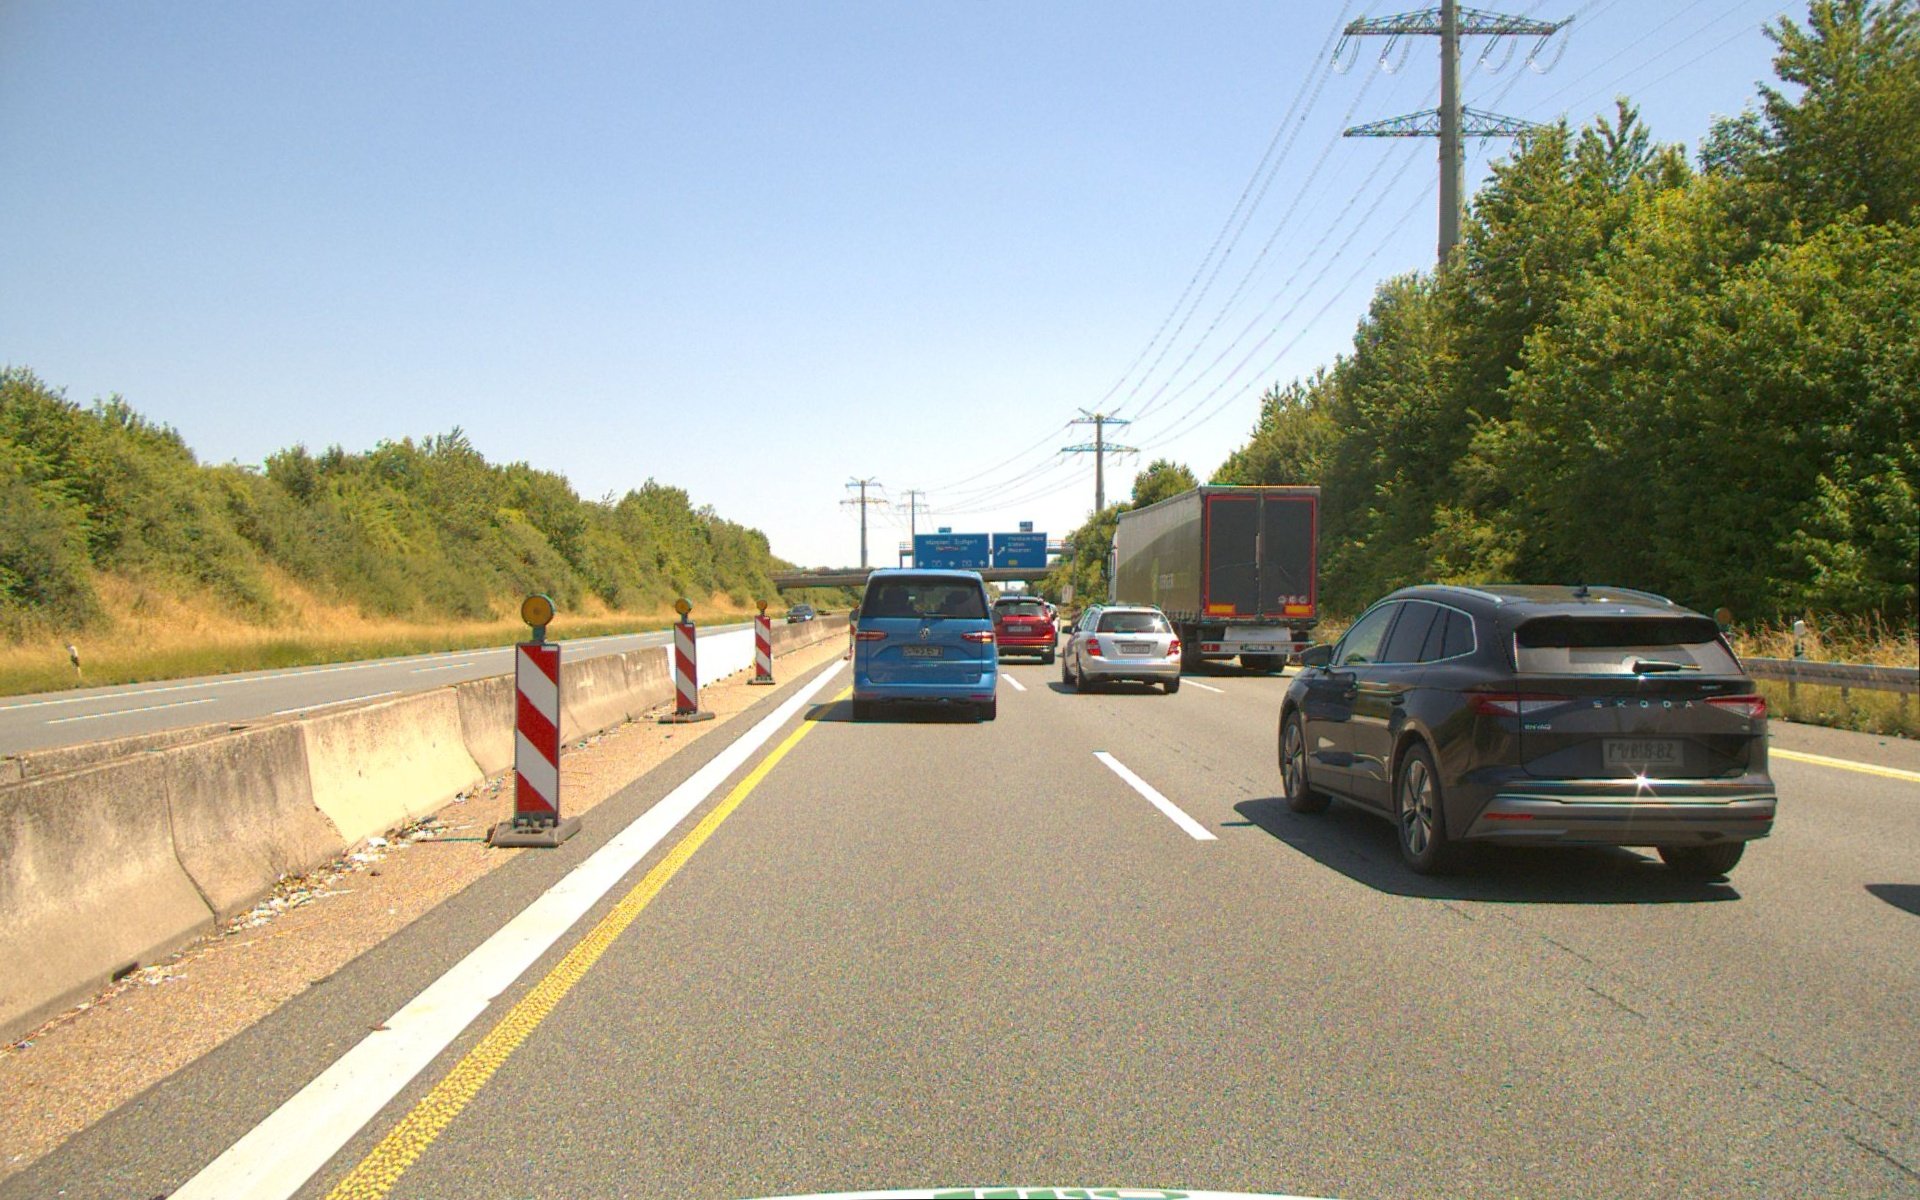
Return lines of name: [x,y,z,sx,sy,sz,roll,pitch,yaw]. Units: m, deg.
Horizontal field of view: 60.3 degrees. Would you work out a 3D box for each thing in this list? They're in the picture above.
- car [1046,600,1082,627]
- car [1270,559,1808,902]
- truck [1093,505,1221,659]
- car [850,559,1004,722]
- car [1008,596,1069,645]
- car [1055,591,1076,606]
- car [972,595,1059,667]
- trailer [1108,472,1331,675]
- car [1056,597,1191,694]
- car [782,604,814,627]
car: [5.826,0.747,92.888,1.666,1.473,3.786,1,0,-2]
car: [3.322,0.668,10.484,1.667,1.684,4.427,1,0,-3]
truck: [5.574,-0.483,47.744,2.678,4.118,5.790,1,0,-3]
car: [-0.497,0.509,22.344,1.837,1.945,4.357,1,0,-3]
car: [2.714,0.703,57.918,1.761,1.622,4.225,1,0,-2]
car: [12.147,-0.191,190.612,1.837,1.700,4.357,1,0,-3]
car: [1.342,0.752,41.689,1.837,1.700,4.357,1,0,-3]
trailer: [5.923,-0.508,40.540,2.728,4.118,13.103,1,0,-3]
car: [2.791,0.757,29.132,1.735,1.544,4.357,1,0,-3]
car: [-11.066,1.056,113.457,1.825,1.516,4.492,-1,0,-1]
